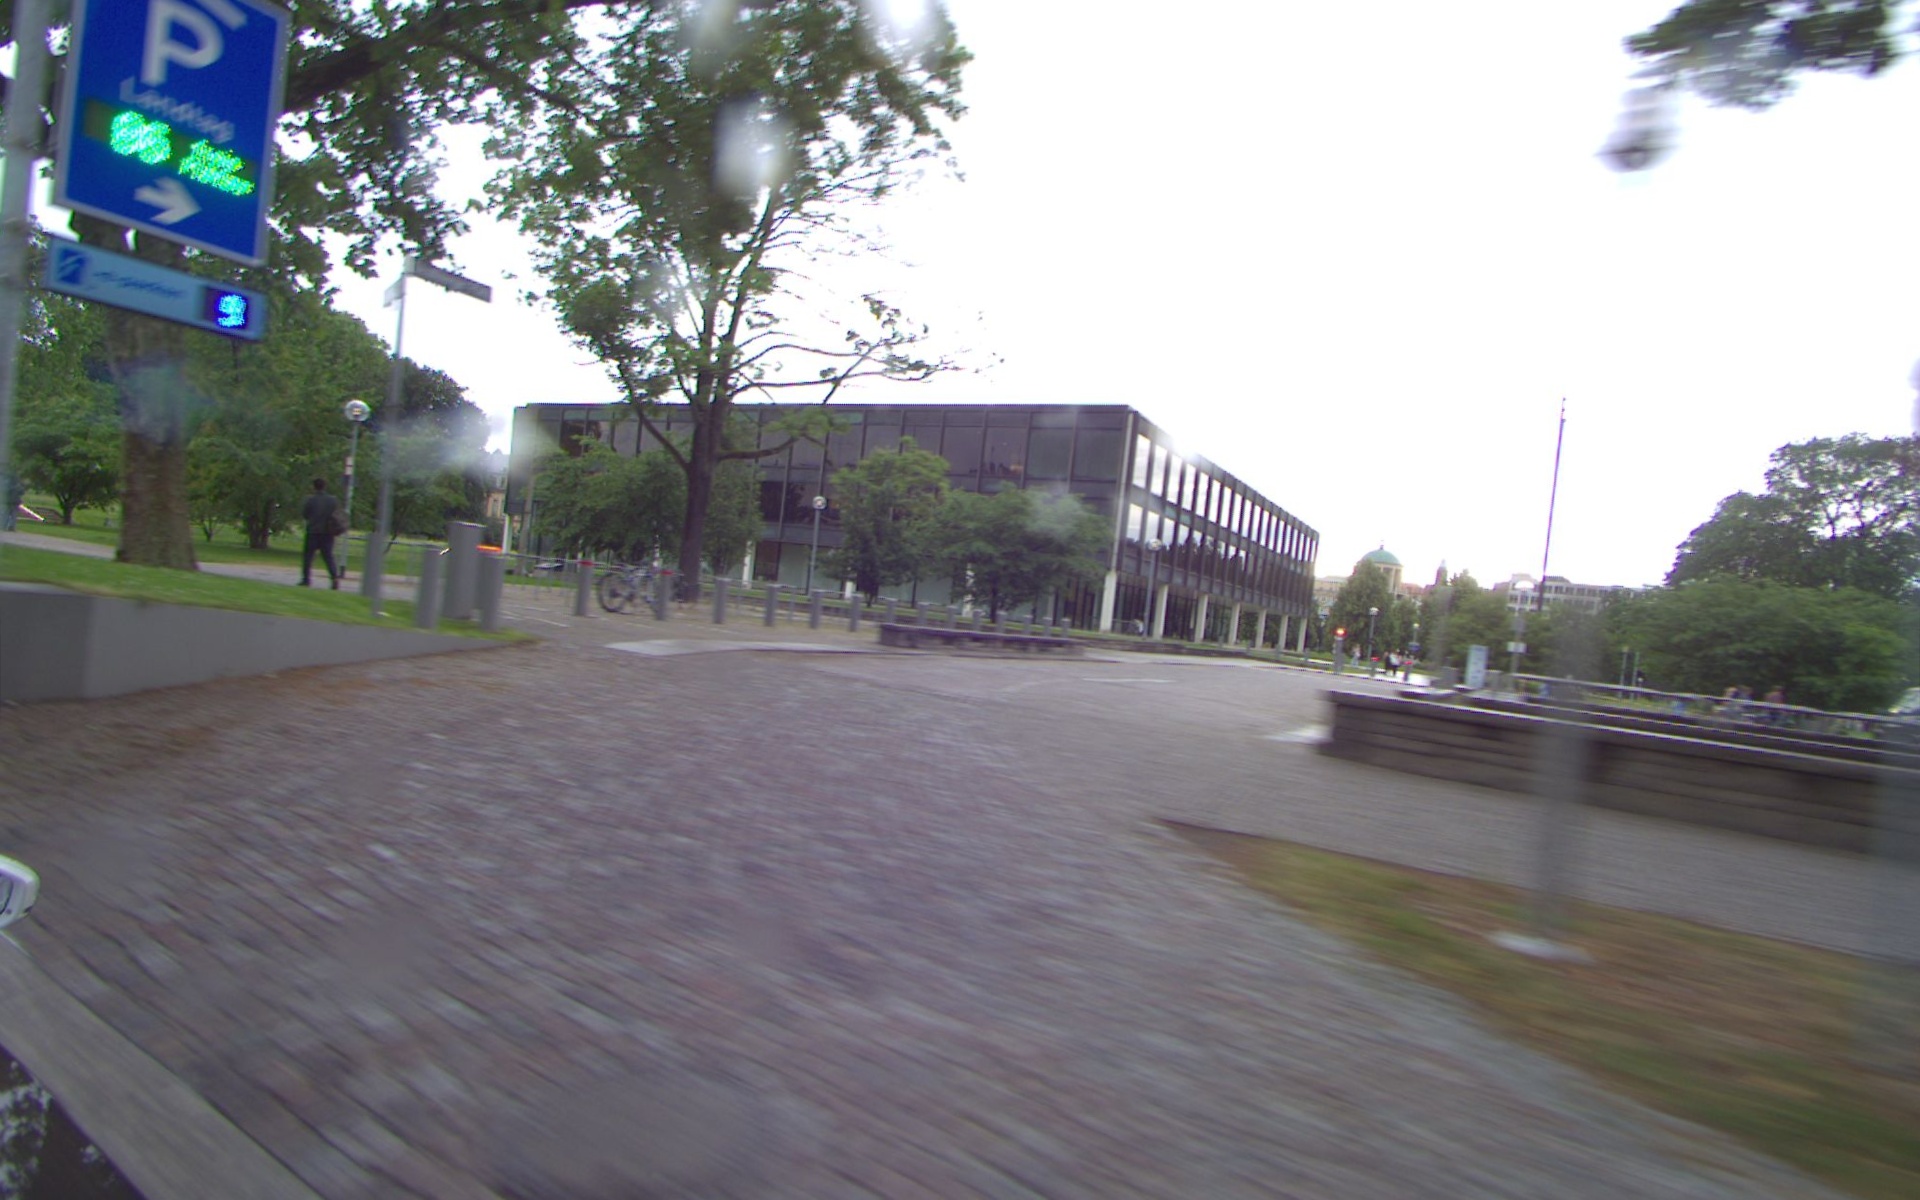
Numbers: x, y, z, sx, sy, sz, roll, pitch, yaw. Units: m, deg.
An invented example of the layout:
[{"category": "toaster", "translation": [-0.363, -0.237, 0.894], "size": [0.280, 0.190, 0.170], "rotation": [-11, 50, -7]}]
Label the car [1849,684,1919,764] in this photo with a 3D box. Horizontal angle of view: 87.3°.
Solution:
[{"category": "car", "translation": [24.112, 3.115, 24.458], "size": [2.418, 1.785, 5.017], "rotation": [7, -1, 27]}]

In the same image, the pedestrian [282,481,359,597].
[{"category": "pedestrian", "translation": [-10.132, -0.955, 15.944], "size": [0.681, 1.741, 0.705], "rotation": [7, 3, 31]}]

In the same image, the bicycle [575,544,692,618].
[{"category": "bicycle", "translation": [-6.193, -0.340, 19.208], "size": [0.942, 1.188, 2.040], "rotation": [7, 0, 21]}]

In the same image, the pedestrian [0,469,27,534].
[{"category": "pedestrian", "translation": [-27.345, -2.834, 28.858], "size": [0.713, 1.779, 0.595], "rotation": [8, 3, 29]}]

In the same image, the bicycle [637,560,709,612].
[{"category": "bicycle", "translation": [-7.023, -0.337, 24.697], "size": [0.697, 1.099, 1.645], "rotation": [8, 1, 26]}]
